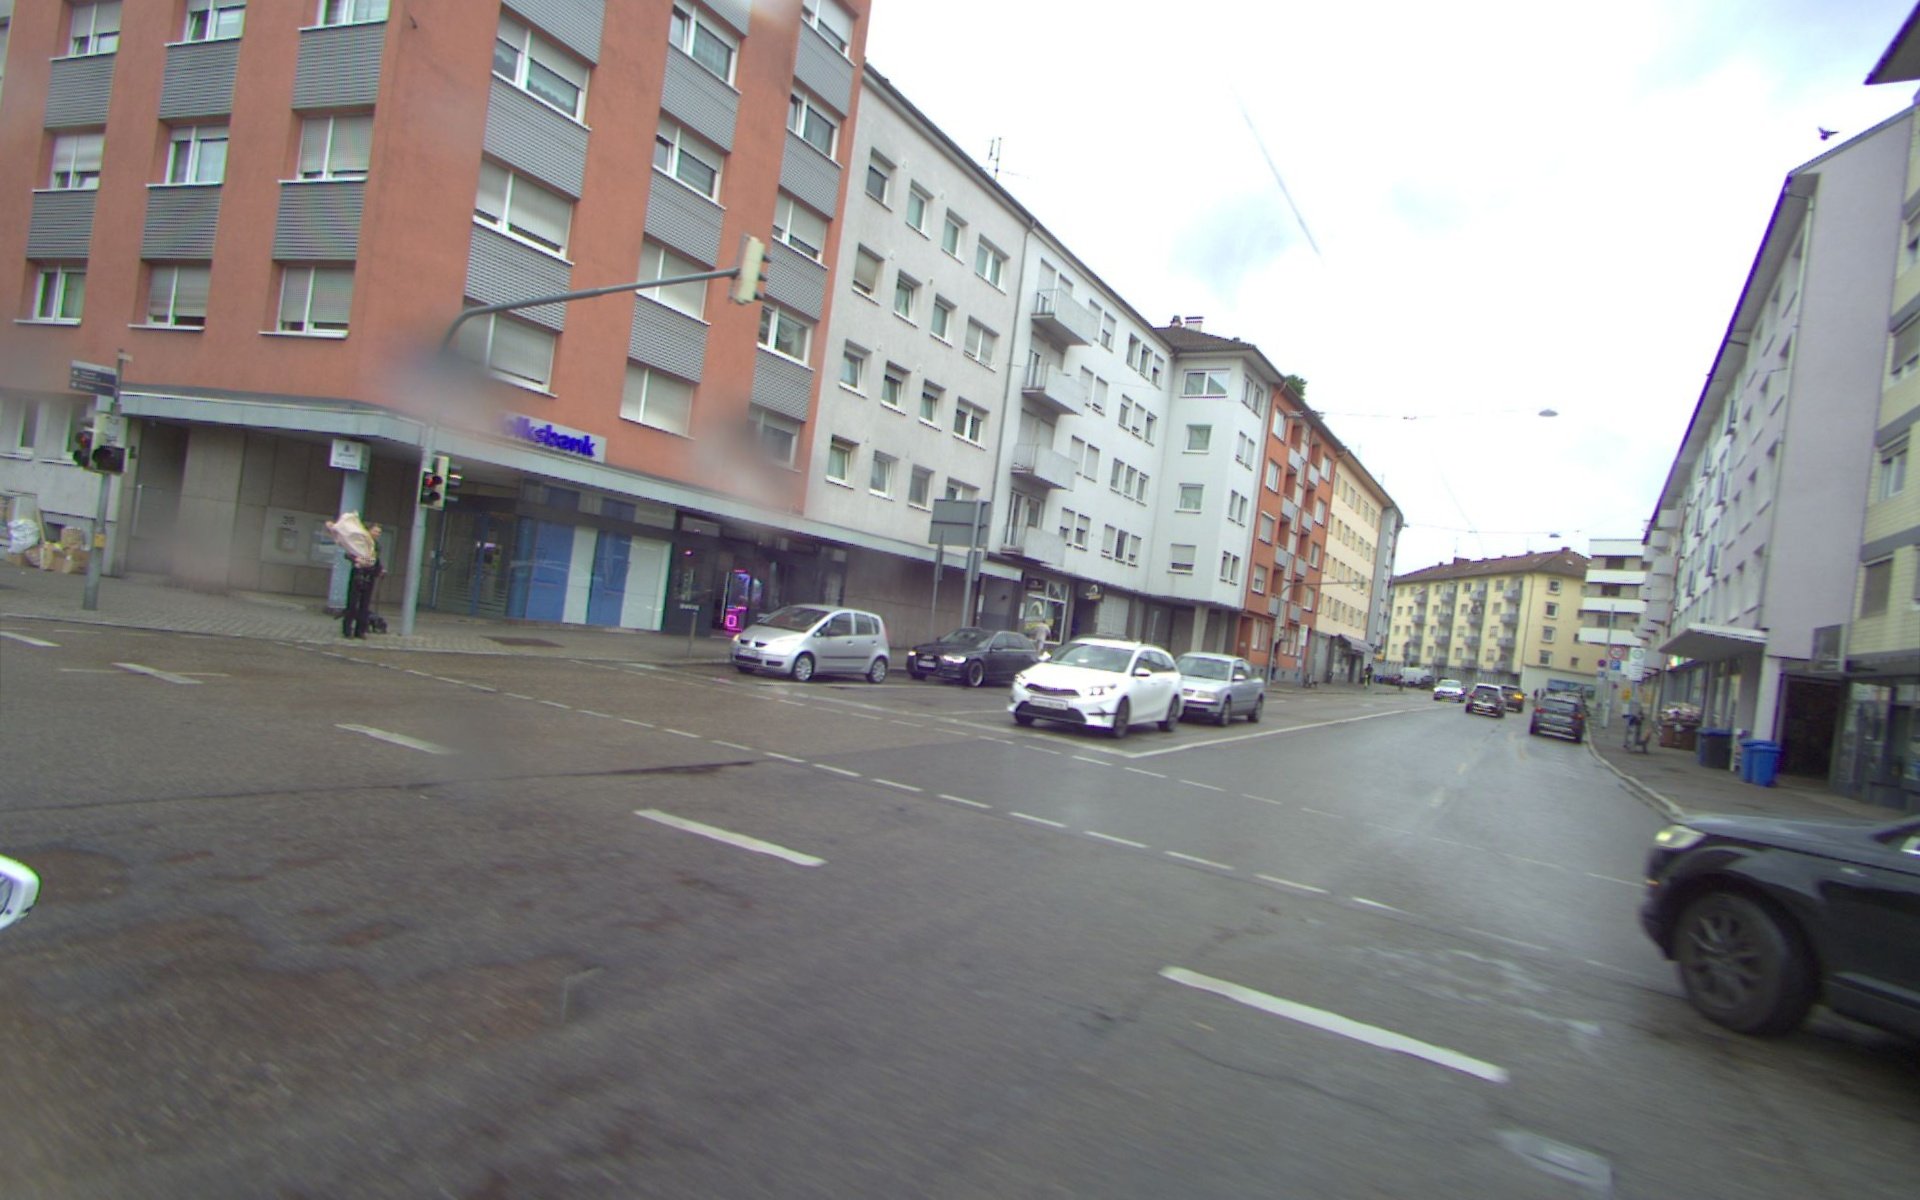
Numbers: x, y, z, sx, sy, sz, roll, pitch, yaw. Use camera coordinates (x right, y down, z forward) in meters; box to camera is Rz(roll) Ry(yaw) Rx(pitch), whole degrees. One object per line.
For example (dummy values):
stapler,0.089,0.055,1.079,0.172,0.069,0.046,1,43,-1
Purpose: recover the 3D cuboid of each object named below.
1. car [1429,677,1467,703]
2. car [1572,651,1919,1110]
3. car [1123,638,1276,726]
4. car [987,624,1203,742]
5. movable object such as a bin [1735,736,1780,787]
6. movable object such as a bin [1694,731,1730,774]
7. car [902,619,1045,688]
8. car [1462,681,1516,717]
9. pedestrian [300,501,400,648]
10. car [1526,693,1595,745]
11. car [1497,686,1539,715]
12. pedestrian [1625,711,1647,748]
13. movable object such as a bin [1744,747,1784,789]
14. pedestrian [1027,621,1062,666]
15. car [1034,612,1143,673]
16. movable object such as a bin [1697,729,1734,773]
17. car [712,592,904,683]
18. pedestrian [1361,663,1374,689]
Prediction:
car,33.545,6.198,69.097,1.826,1.504,3.991,7,-1,33
car,5.444,1.442,4.020,1.998,1.892,4.882,8,-1,-16
car,5.303,1.789,21.801,1.814,1.503,4.517,6,-1,31
car,2.440,1.389,16.955,1.887,1.503,4.660,6,-1,29
movable object such as a bin,19.952,4.028,25.178,0.686,1.150,0.640,7,-2,32
movable object such as a bin,22.291,4.516,29.827,0.686,1.150,0.640,7,-2,32
car,0.451,1.431,26.122,1.640,1.442,4.376,6,-1,31
car,26.963,5.038,51.222,1.967,1.504,3.991,7,-1,33
pedestrian,-9.720,-0.394,16.049,0.757,2.182,0.827,7,-2,31
car,23.356,4.587,39.055,1.959,1.637,4.118,7,-1,34
car,36.262,6.504,65.331,1.967,1.504,3.991,7,-1,33
pedestrian,29.554,5.668,43.980,0.616,1.520,0.705,7,-2,32
movable object such as a bin,19.637,4.098,24.577,0.612,0.918,0.533,7,-2,32
pedestrian,3.390,1.755,40.385,0.812,1.630,1.013,7,-2,33
car,4.220,1.422,32.475,1.728,1.560,4.244,6,-1,32
movable object such as a bin,21.961,4.385,29.242,0.686,1.150,0.640,7,-2,32
car,-3.020,0.835,20.809,1.674,1.503,3.953,6,-1,31
pedestrian,30.636,5.695,75.549,0.679,1.826,0.706,7,-2,25
